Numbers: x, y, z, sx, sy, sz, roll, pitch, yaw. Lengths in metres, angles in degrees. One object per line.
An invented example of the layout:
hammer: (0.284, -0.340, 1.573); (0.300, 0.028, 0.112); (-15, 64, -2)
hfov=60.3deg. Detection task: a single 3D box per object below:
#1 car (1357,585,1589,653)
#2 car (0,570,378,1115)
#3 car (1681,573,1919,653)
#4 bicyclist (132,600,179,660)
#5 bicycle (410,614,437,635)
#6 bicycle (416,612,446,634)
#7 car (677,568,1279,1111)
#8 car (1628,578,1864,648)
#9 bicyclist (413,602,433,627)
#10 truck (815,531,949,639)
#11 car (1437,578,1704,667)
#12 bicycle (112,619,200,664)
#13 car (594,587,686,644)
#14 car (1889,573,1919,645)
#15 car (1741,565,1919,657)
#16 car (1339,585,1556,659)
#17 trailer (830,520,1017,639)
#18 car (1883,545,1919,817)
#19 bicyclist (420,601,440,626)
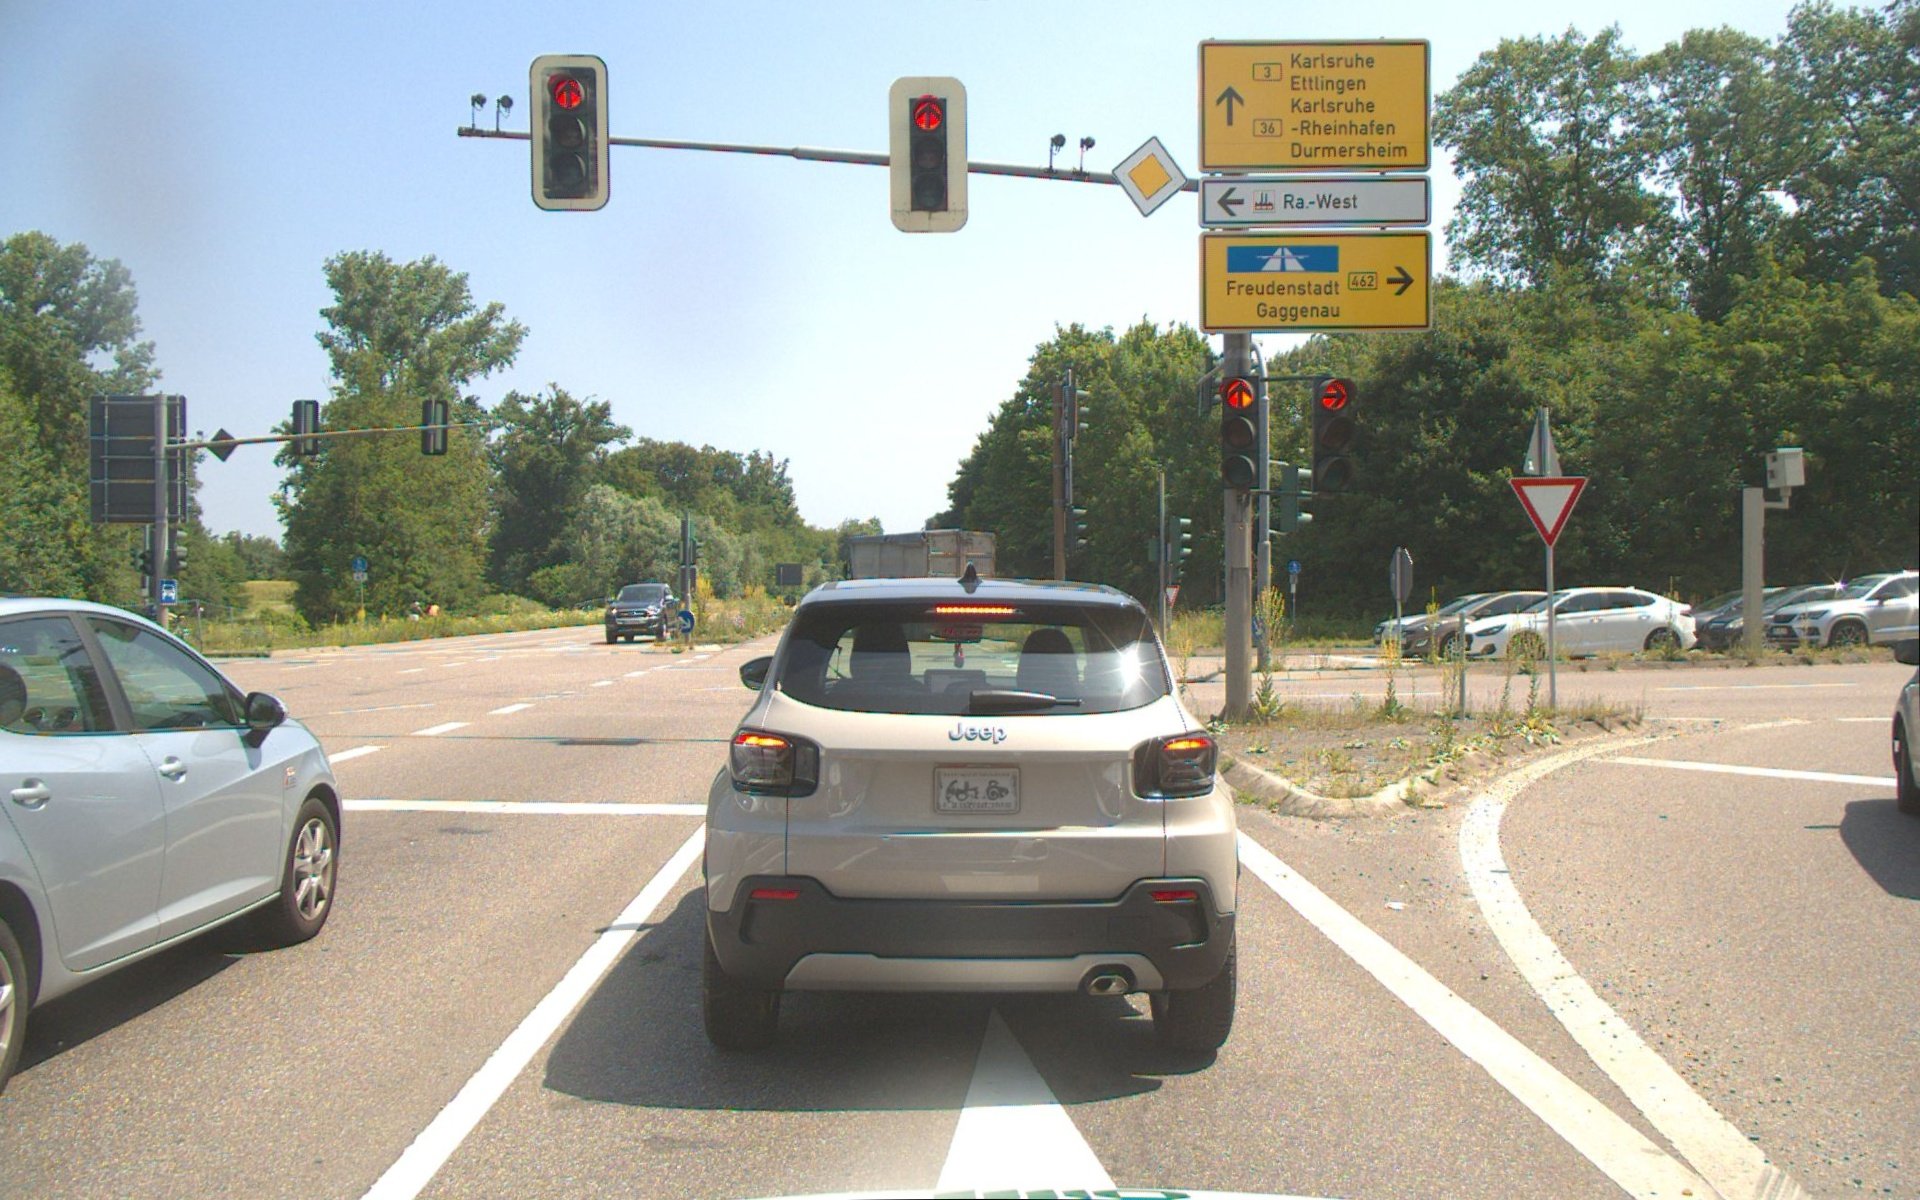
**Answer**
car: (12.033, 0.440, 39.015); (4.831, 1.525, 2.020); (-1, -1, -1)
car: (-3.380, 0.627, 5.398); (1.632, 1.455, 3.827); (1, 0, -1)
car: (17.933, 0.273, 35.101); (4.330, 1.562, 2.121); (-1, -1, -2)
bicyclist: (-20.205, 0.746, 41.523); (0.908, 1.485, 0.713); (-1, 0, 36)
bicycle: (-26.407, 1.202, 81.455); (0.591, 1.023, 1.557); (-1, 0, 9)
bicycle: (-25.740, 1.109, 80.489); (0.661, 1.022, 1.802); (-1, 0, 8)
car: (0.026, 0.685, 6.777); (1.731, 1.561, 3.999); (0, 0, -1)
car: (18.385, 0.308, 38.824); (4.523, 1.525, 2.111); (-1, -1, -2)
bicyclist: (-26.412, 0.703, 81.414); (0.719, 1.216, 0.592); (-1, 0, 9)
truck: (-3.206, -0.576, 66.204); (3.288, 4.058, 6.486); (1, 0, -23)
car: (11.584, 0.412, 31.559); (4.331, 1.562, 1.999); (-1, 0, -3)
bicycle: (-20.178, 1.029, 41.540); (0.709, 1.082, 1.863); (-1, 0, 35)
car: (-10.216, 0.462, 53.253); (1.953, 1.707, 5.364); (-2, 0, -1)
car: (23.313, 0.136, 35.983); (5.025, 1.560, 2.137); (-1, -1, -2)
car: (17.646, 0.186, 32.026); (4.088, 1.688, 1.999); (-1, 0, -2)
car: (10.374, 0.454, 35.374); (4.011, 1.472, 1.994); (-1, 0, -4)
trailer: (-1.625, -0.704, 62.254); (3.337, 4.058, 10.728); (1, 0, -23)
car: (6.941, 0.540, 10.062); (1.720, 1.804, 4.113); (0, 0, 21)
bicyclist: (-25.762, 0.654, 80.386); (0.741, 1.216, 0.592); (-1, 0, 9)
